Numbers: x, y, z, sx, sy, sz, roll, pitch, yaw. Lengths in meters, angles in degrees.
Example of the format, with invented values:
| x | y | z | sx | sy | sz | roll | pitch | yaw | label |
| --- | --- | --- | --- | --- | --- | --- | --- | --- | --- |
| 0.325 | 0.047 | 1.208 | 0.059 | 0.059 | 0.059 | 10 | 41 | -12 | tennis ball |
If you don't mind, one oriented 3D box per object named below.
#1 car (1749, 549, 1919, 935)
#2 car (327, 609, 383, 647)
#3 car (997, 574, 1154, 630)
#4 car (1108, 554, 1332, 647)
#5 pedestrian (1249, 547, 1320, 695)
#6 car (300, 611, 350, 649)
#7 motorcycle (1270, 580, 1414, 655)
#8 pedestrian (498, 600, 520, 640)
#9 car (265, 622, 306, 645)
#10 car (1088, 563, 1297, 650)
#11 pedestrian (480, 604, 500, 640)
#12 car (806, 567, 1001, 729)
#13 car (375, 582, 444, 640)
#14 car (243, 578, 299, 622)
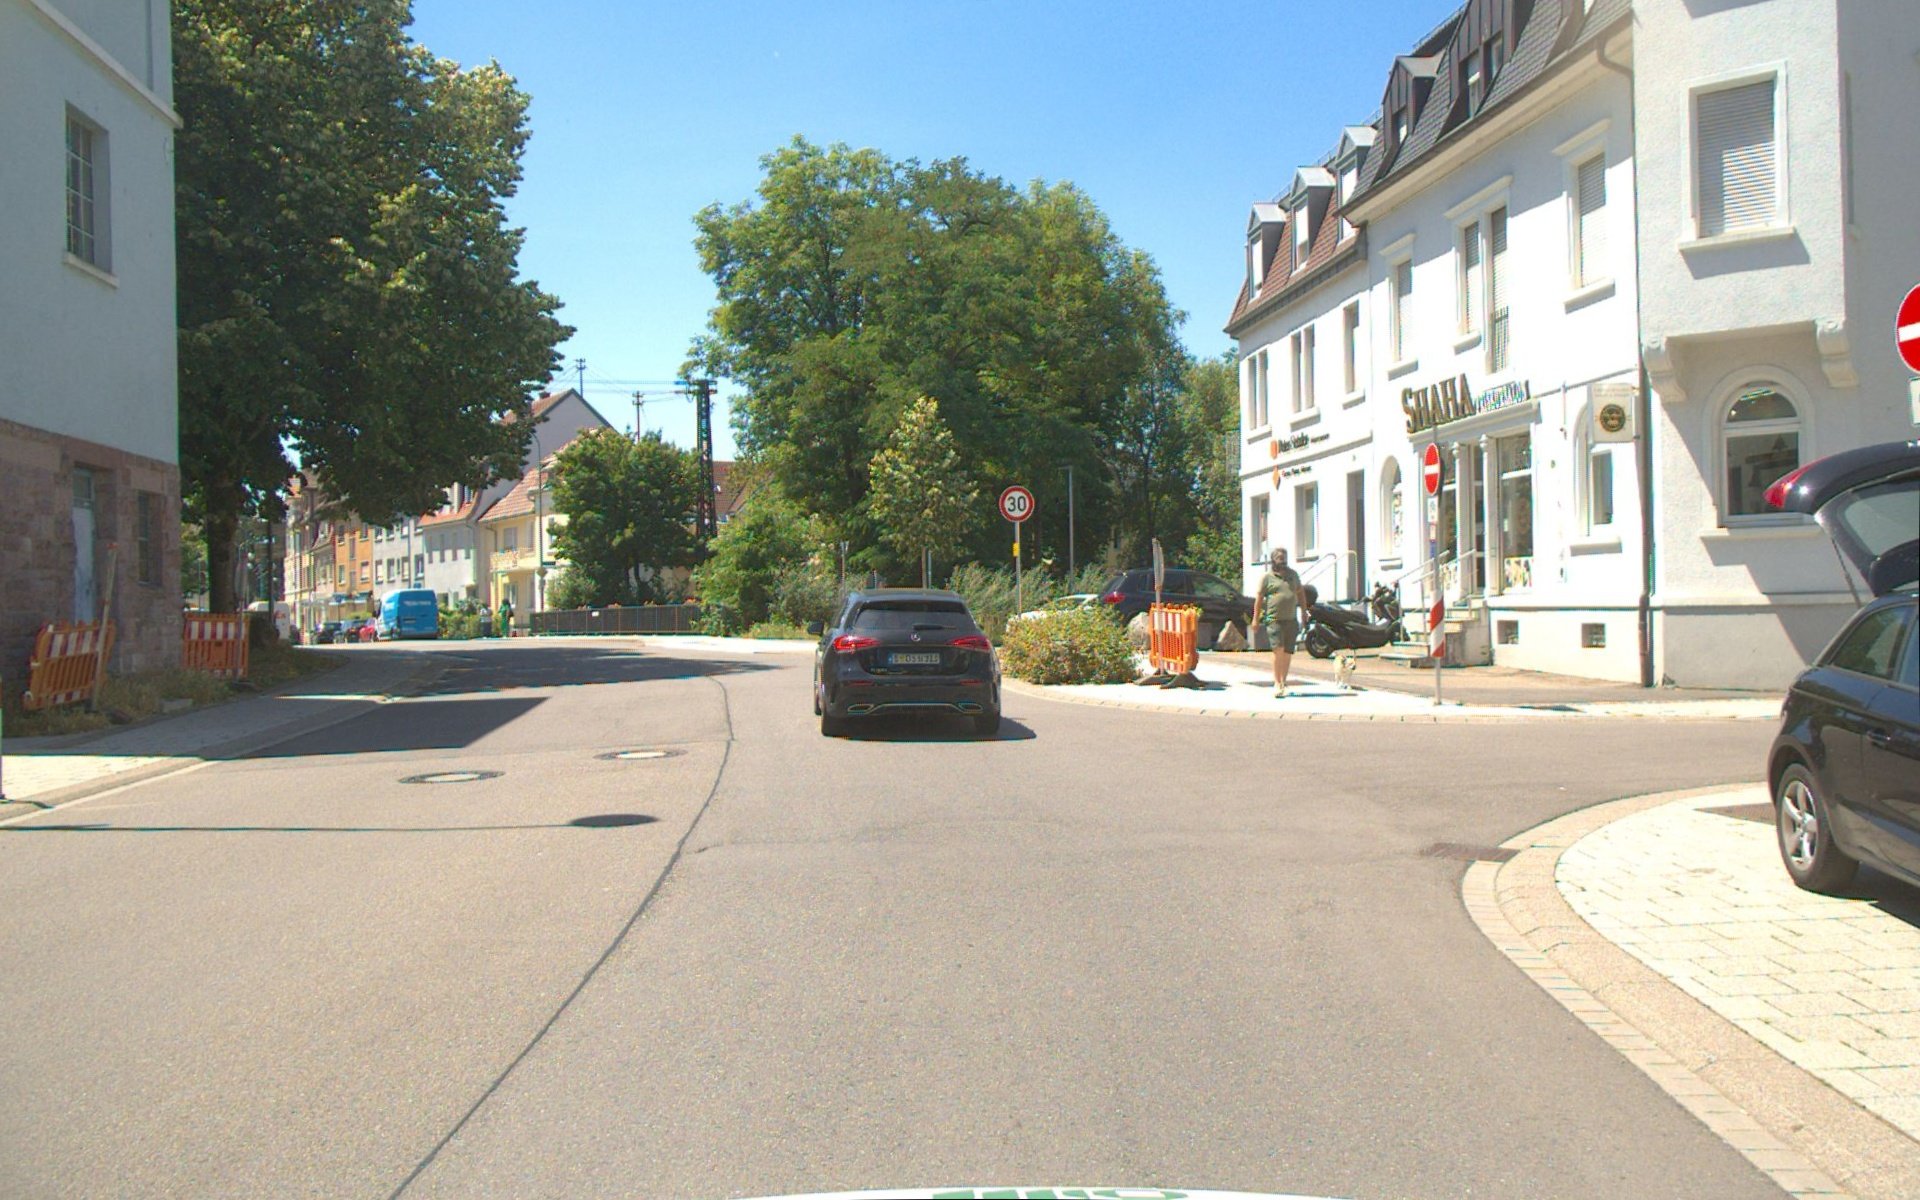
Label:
| x | y | z | sx | sy | sz | roll | pitch | yaw | label |
| --- | --- | --- | --- | --- | --- | --- | --- | --- | --- |
| 4.696 | 0.544 | 6.341 | 1.832 | 1.517 | 3.865 | -2 | 1 | 7 | car |
| -31.653 | 1.483 | 86.481 | 1.974 | 1.776 | 4.282 | 0 | -3 | -31 | car |
| 3.144 | 0.069 | 44.577 | 4.167 | 1.373 | 1.832 | 1 | 2 | -43 | car |
| 5.067 | 0.027 | 32.521 | 3.998 | 1.746 | 1.853 | 0 | -1 | -7 | car |
| 4.097 | 0.252 | 20.934 | 0.730 | 1.827 | 0.844 | -1 | 1 | 2 | pedestrian |
| -35.994 | 1.685 | 93.688 | 1.974 | 2.049 | 3.957 | 0 | 0 | -31 | car |
| 6.715 | 0.296 | 29.145 | 2.331 | 1.297 | 0.855 | 0 | 0 | -6 | motorcycle |
| -20.277 | 0.882 | 74.305 | 0.689 | 1.772 | 0.659 | -2 | -1 | 42 | pedestrian |
| -45.839 | 2.247 | 112.341 | 1.974 | 1.416 | 4.282 | 0 | 0 | -31 | car |
| 4.806 | 0.144 | 34.462 | 3.998 | 1.746 | 1.853 | 0 | -1 | -7 | car |
| -21.290 | 0.999 | 74.859 | 0.609 | 1.641 | 0.827 | -1 | -1 | -36 | pedestrian |
| -0.580 | 0.525 | 17.443 | 1.791 | 1.467 | 3.998 | -1 | -2 | -2 | car |
| -25.619 | 0.534 | 76.855 | 2.111 | 2.586 | 4.601 | -1 | -1 | -30 | car |
| -38.265 | 0.000 | 91.750 | 2.222 | 2.384 | 4.802 | 1 | 0 | -31 | car |
